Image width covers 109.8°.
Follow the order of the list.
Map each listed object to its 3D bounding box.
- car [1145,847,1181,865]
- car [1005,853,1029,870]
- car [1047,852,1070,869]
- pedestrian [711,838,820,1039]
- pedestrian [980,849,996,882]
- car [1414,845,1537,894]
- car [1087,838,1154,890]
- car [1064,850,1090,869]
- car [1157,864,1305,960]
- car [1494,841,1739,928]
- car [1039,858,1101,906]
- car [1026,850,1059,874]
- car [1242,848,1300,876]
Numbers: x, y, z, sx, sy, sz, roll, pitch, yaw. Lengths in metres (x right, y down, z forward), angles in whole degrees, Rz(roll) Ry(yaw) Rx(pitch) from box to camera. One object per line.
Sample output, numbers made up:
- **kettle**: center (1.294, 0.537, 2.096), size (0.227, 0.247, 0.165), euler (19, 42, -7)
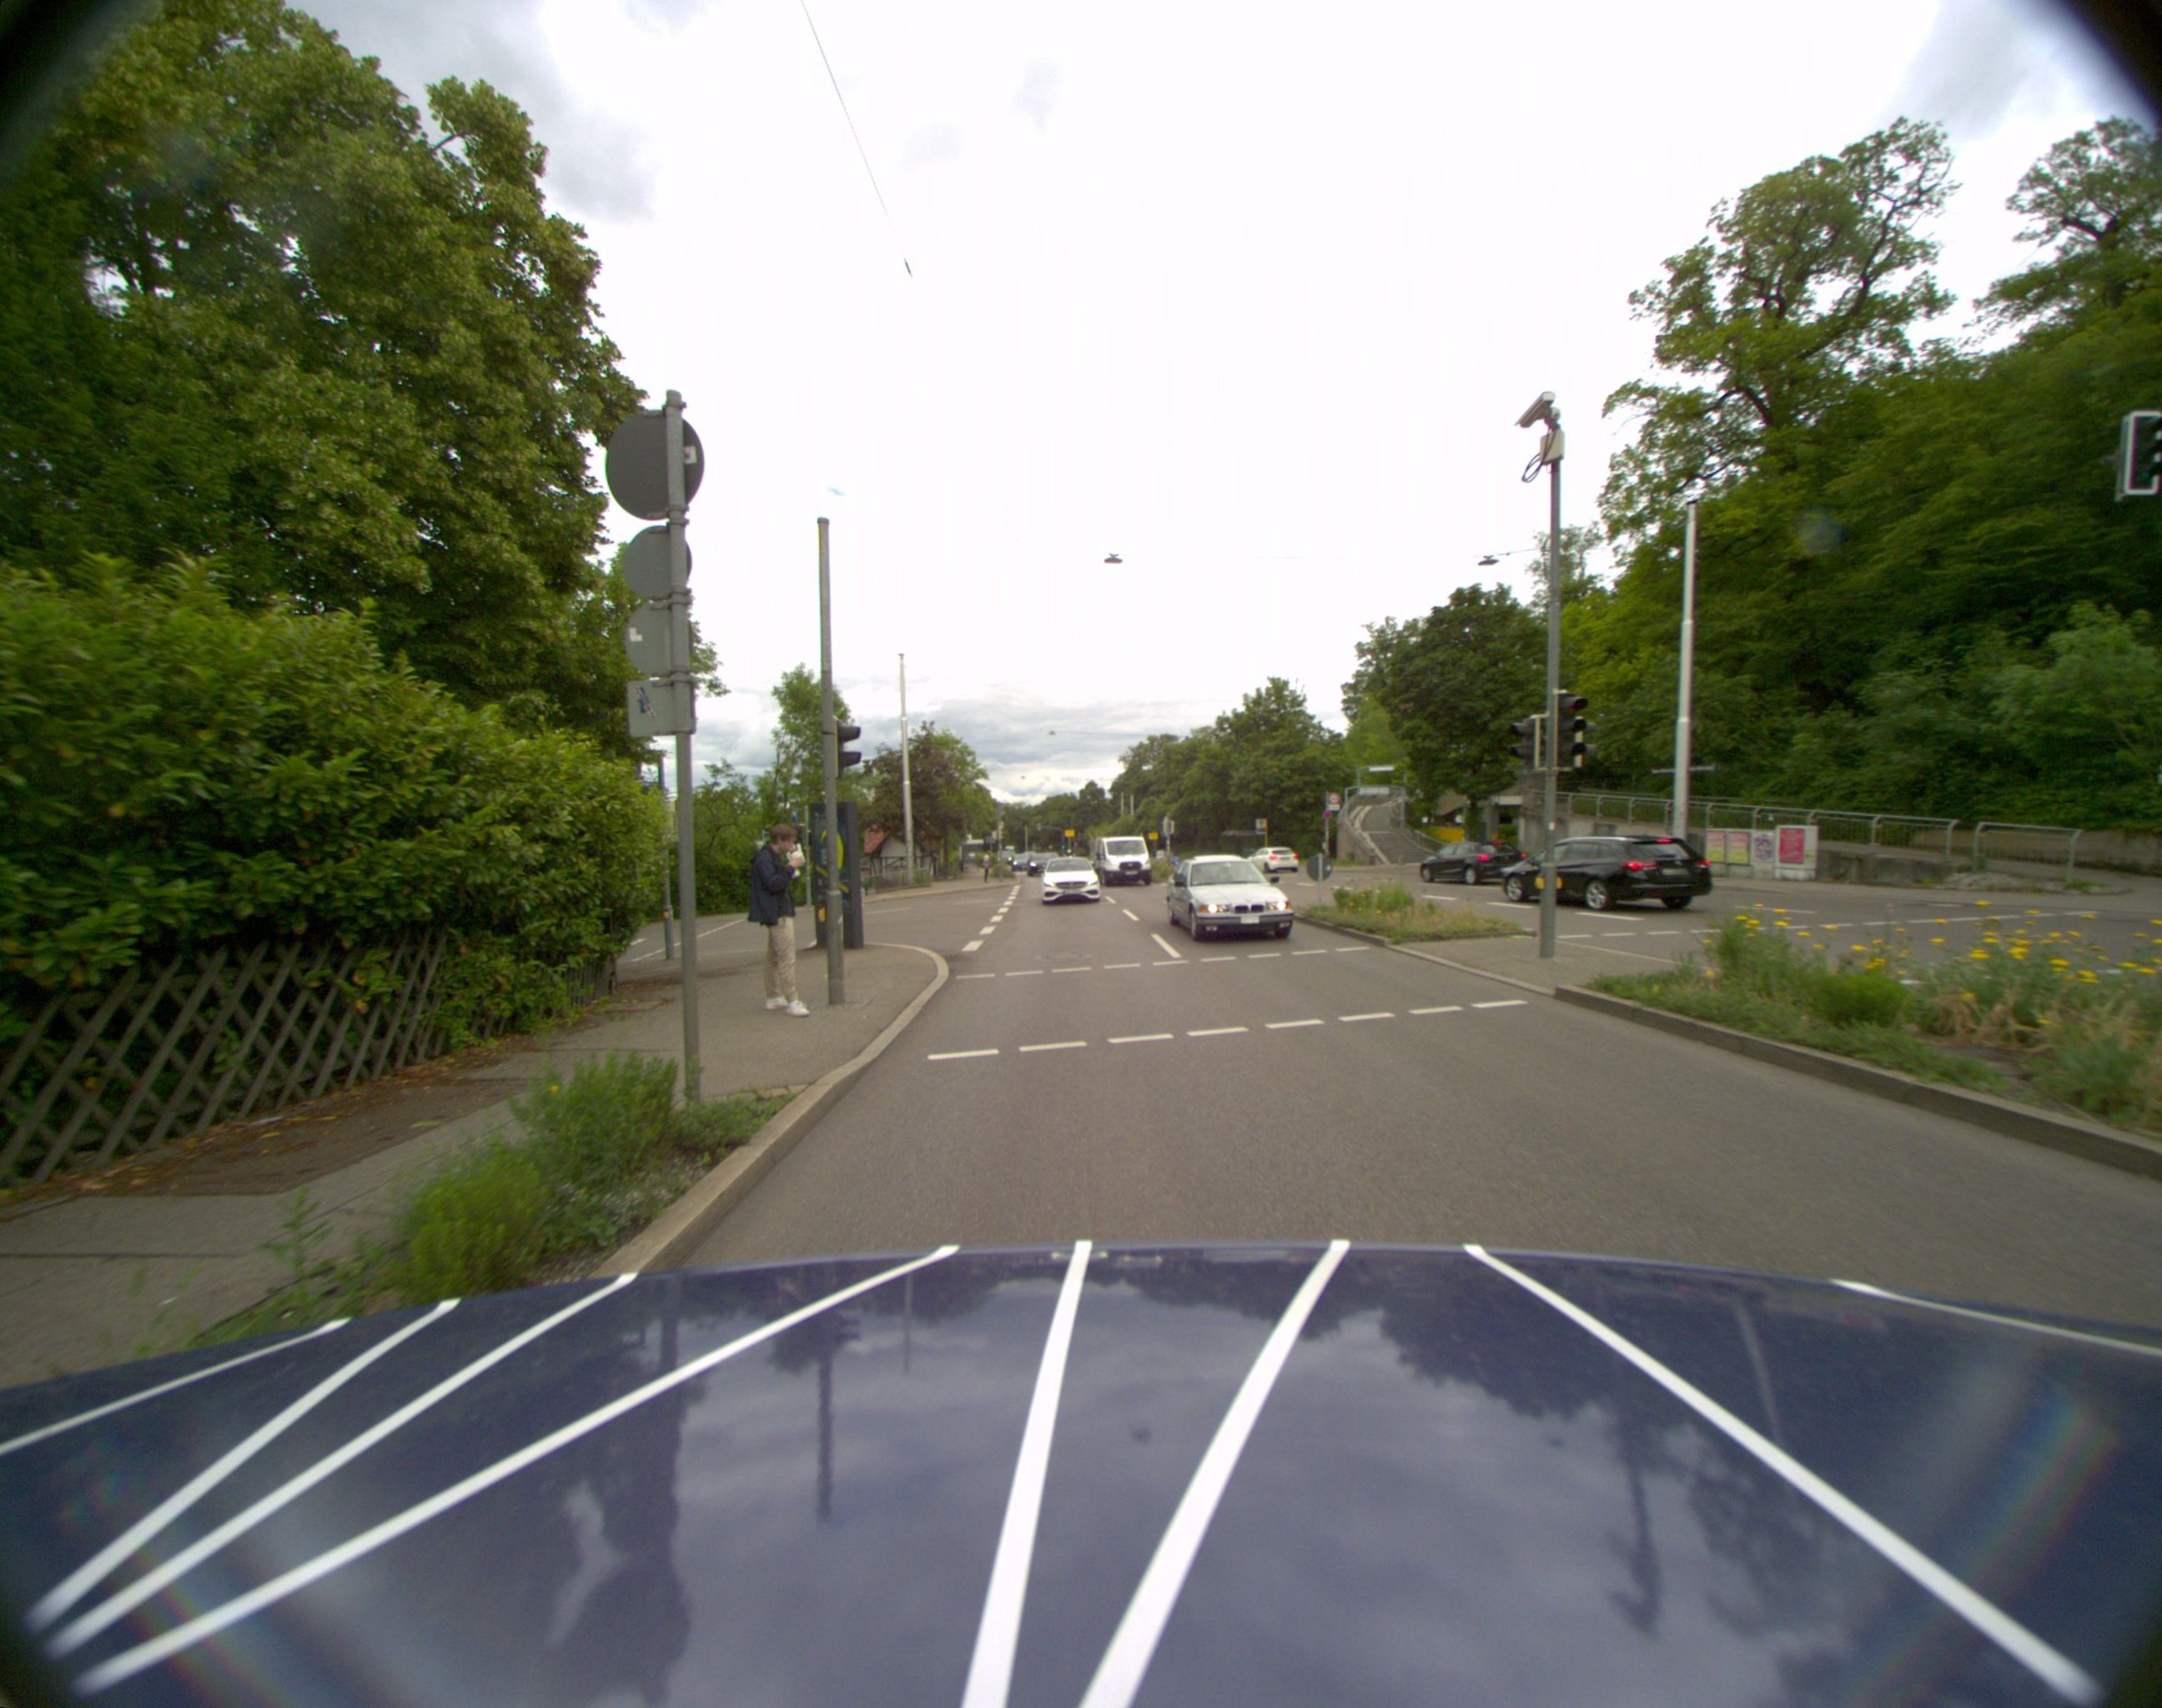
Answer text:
- **car**: center (6.889, 0.175, 64.012), size (1.657, 1.440, 4.562), euler (-3, 0, -11)
- **car**: center (-5.649, 0.675, 67.087), size (1.808, 1.385, 4.281), euler (-2, 0, -8)
- **car**: center (-2.195, 0.593, 72.059), size (1.679, 1.532, 4.611), euler (-1, 0, -8)
- **pedestrian**: center (-3.019, 0.780, 7.338), size (0.695, 1.823, 0.620), euler (-3, 1, -1)
- **pedestrian**: center (-4.832, 0.577, 39.517), size (0.621, 1.679, 0.694), euler (-1, 2, -26)
- **car**: center (13.019, 0.481, 25.333), size (1.631, 1.385, 3.854), euler (-4, 0, -8)
- **car**: center (1.694, 0.430, 35.316), size (2.254, 2.113, 6.667), euler (-2, 0, -4)
- **car**: center (-0.354, 0.451, 62.601), size (1.678, 1.532, 4.551), euler (-1, 0, -5)
- **car**: center (2.618, 0.955, 14.372), size (1.757, 1.385, 4.614), euler (-2, 0, -1)
- **car**: center (10.936, 0.548, 16.014), size (1.696, 1.492, 4.553), euler (-3, 0, -4)
- **car**: center (-0.399, 0.845, 24.806), size (1.807, 1.385, 4.283), euler (-1, 0, -2)
- **car**: center (-2.663, 0.542, 51.522), size (1.679, 1.532, 4.611), euler (-1, 0, -10)
- **car**: center (10.785, 0.435, 43.343), size (1.656, 1.385, 4.141), euler (-4, 0, -8)
